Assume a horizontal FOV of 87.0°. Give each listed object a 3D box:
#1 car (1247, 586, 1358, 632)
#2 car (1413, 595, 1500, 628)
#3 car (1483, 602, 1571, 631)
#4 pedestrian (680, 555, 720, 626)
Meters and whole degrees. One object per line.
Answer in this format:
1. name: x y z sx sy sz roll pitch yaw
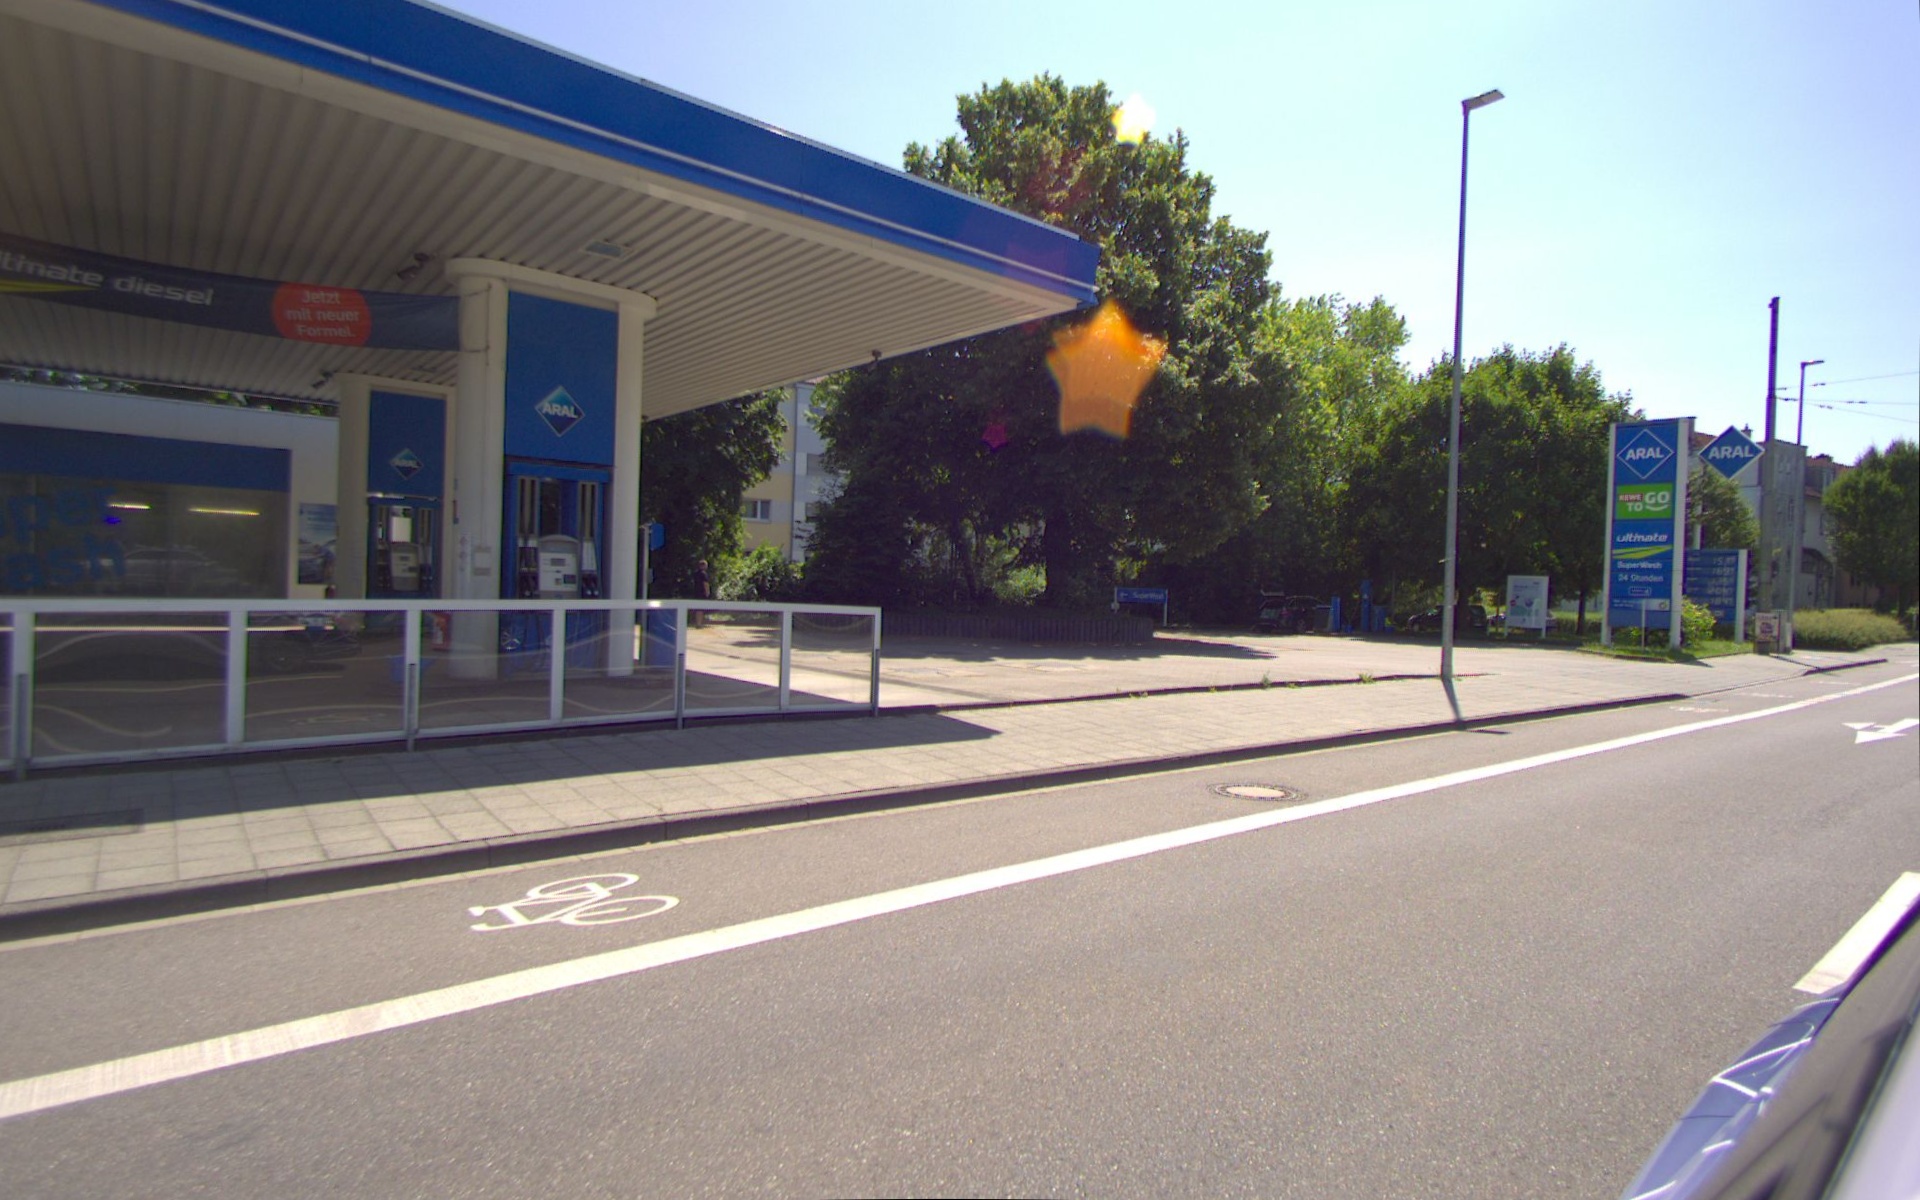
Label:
1. car: 13.581 0.300 40.021 4.327 1.683 2.000 0 2 -35
2. car: 27.974 0.619 57.147 1.958 1.708 4.008 1 1 -25
3. car: 34.250 0.991 61.226 1.960 1.540 4.231 1 1 -32
4. pedestrian: -7.180 -0.264 27.925 0.822 1.912 0.626 2 0 -40
